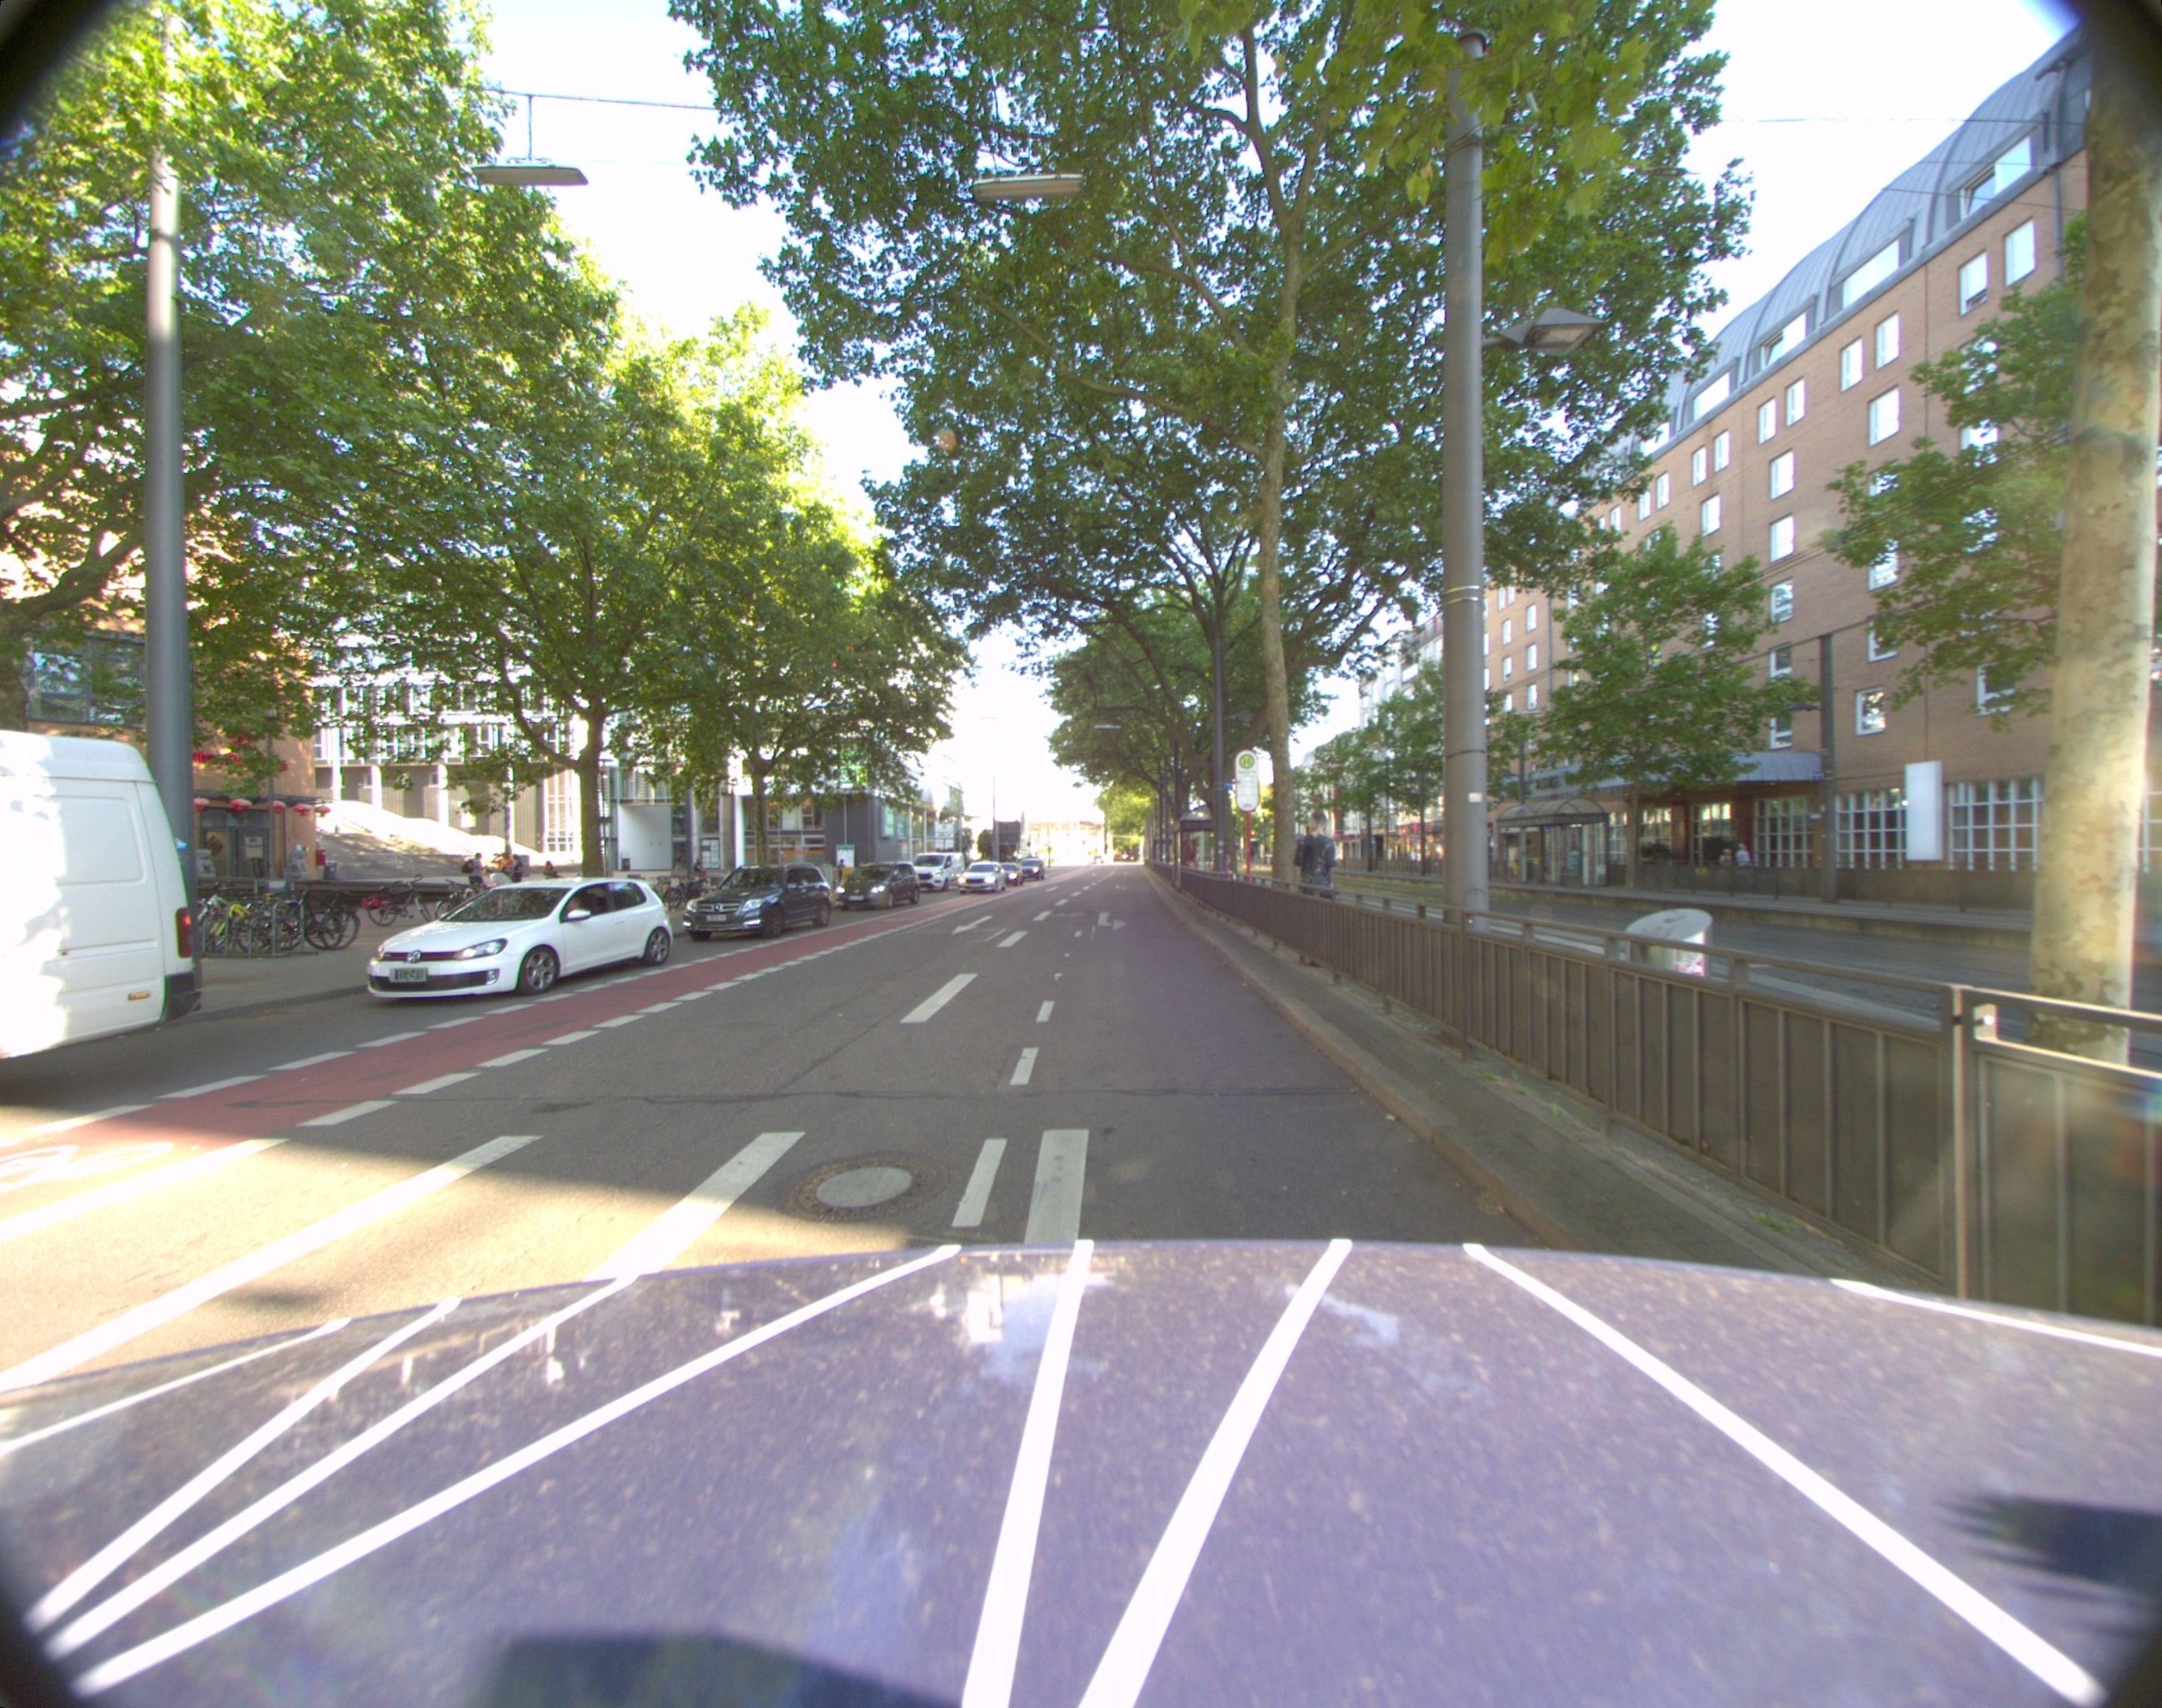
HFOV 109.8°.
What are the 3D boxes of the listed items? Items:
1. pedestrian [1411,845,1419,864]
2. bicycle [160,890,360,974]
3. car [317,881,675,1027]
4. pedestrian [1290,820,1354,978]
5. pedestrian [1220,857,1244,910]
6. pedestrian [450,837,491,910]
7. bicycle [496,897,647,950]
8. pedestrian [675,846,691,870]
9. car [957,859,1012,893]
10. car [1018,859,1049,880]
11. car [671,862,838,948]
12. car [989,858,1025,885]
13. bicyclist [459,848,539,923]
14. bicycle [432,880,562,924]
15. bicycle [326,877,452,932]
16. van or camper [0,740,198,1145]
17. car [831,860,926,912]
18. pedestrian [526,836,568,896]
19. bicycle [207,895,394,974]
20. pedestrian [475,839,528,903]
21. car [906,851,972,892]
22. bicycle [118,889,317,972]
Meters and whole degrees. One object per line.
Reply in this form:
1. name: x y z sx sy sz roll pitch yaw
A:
1. pedestrian: 30.580 0.077 69.638 0.504 1.725 0.574 -1 1 3
2. bicycle: -14.043 1.289 13.142 0.751 1.155 2.398 -2 1 2
3. car: -7.562 1.187 10.421 1.639 1.420 3.987 -2 0 3
4. pedestrian: 2.875 0.522 9.096 0.543 1.823 0.524 -2 1 2
5. pedestrian: 3.891 0.752 19.606 0.542 1.310 0.524 -2 1 12
6. pedestrian: -22.591 0.704 28.135 0.981 2.633 0.900 -3 1 -31
7. bicycle: -13.109 1.743 19.755 0.975 1.020 3.208 -2 1 23
8. pedestrian: -34.313 0.320 65.541 0.797 2.002 0.875 -2 1 1
9. car: -4.684 1.043 37.453 1.835 1.481 4.196 -2 0 5
10. car: -3.608 1.161 58.324 1.784 1.481 4.196 -3 0 4
11. car: -7.281 1.053 17.492 1.768 1.626 4.251 -2 0 3
12. car: -4.475 1.058 46.453 1.836 1.481 4.195 -3 0 -1
13. bicyclist: -16.125 0.840 21.063 1.296 2.002 1.158 -1 1 17
14. bicycle: -16.216 1.305 21.099 3.328 1.077 1.150 0 1 18
15. bicycle: -17.848 1.261 19.718 0.699 1.193 2.700 -2 1 1
16. van or camper: -7.979 0.585 2.692 2.005 2.599 6.498 -1 0 1
17. car: -7.075 1.070 27.055 1.709 1.626 4.392 -2 0 7
18. pedestrian: -20.311 0.439 28.928 0.842 2.220 0.905 -2 1 22
19. bicycle: -13.114 1.311 12.906 0.682 1.054 2.337 -1 1 2
20. pedestrian: -21.101 0.616 27.667 1.048 2.235 1.221 -1 1 38
21. car: -7.464 0.854 40.554 1.932 1.953 5.920 -2 0 4
22. bicycle: -14.824 1.264 13.174 0.671 1.155 2.305 -2 1 3
